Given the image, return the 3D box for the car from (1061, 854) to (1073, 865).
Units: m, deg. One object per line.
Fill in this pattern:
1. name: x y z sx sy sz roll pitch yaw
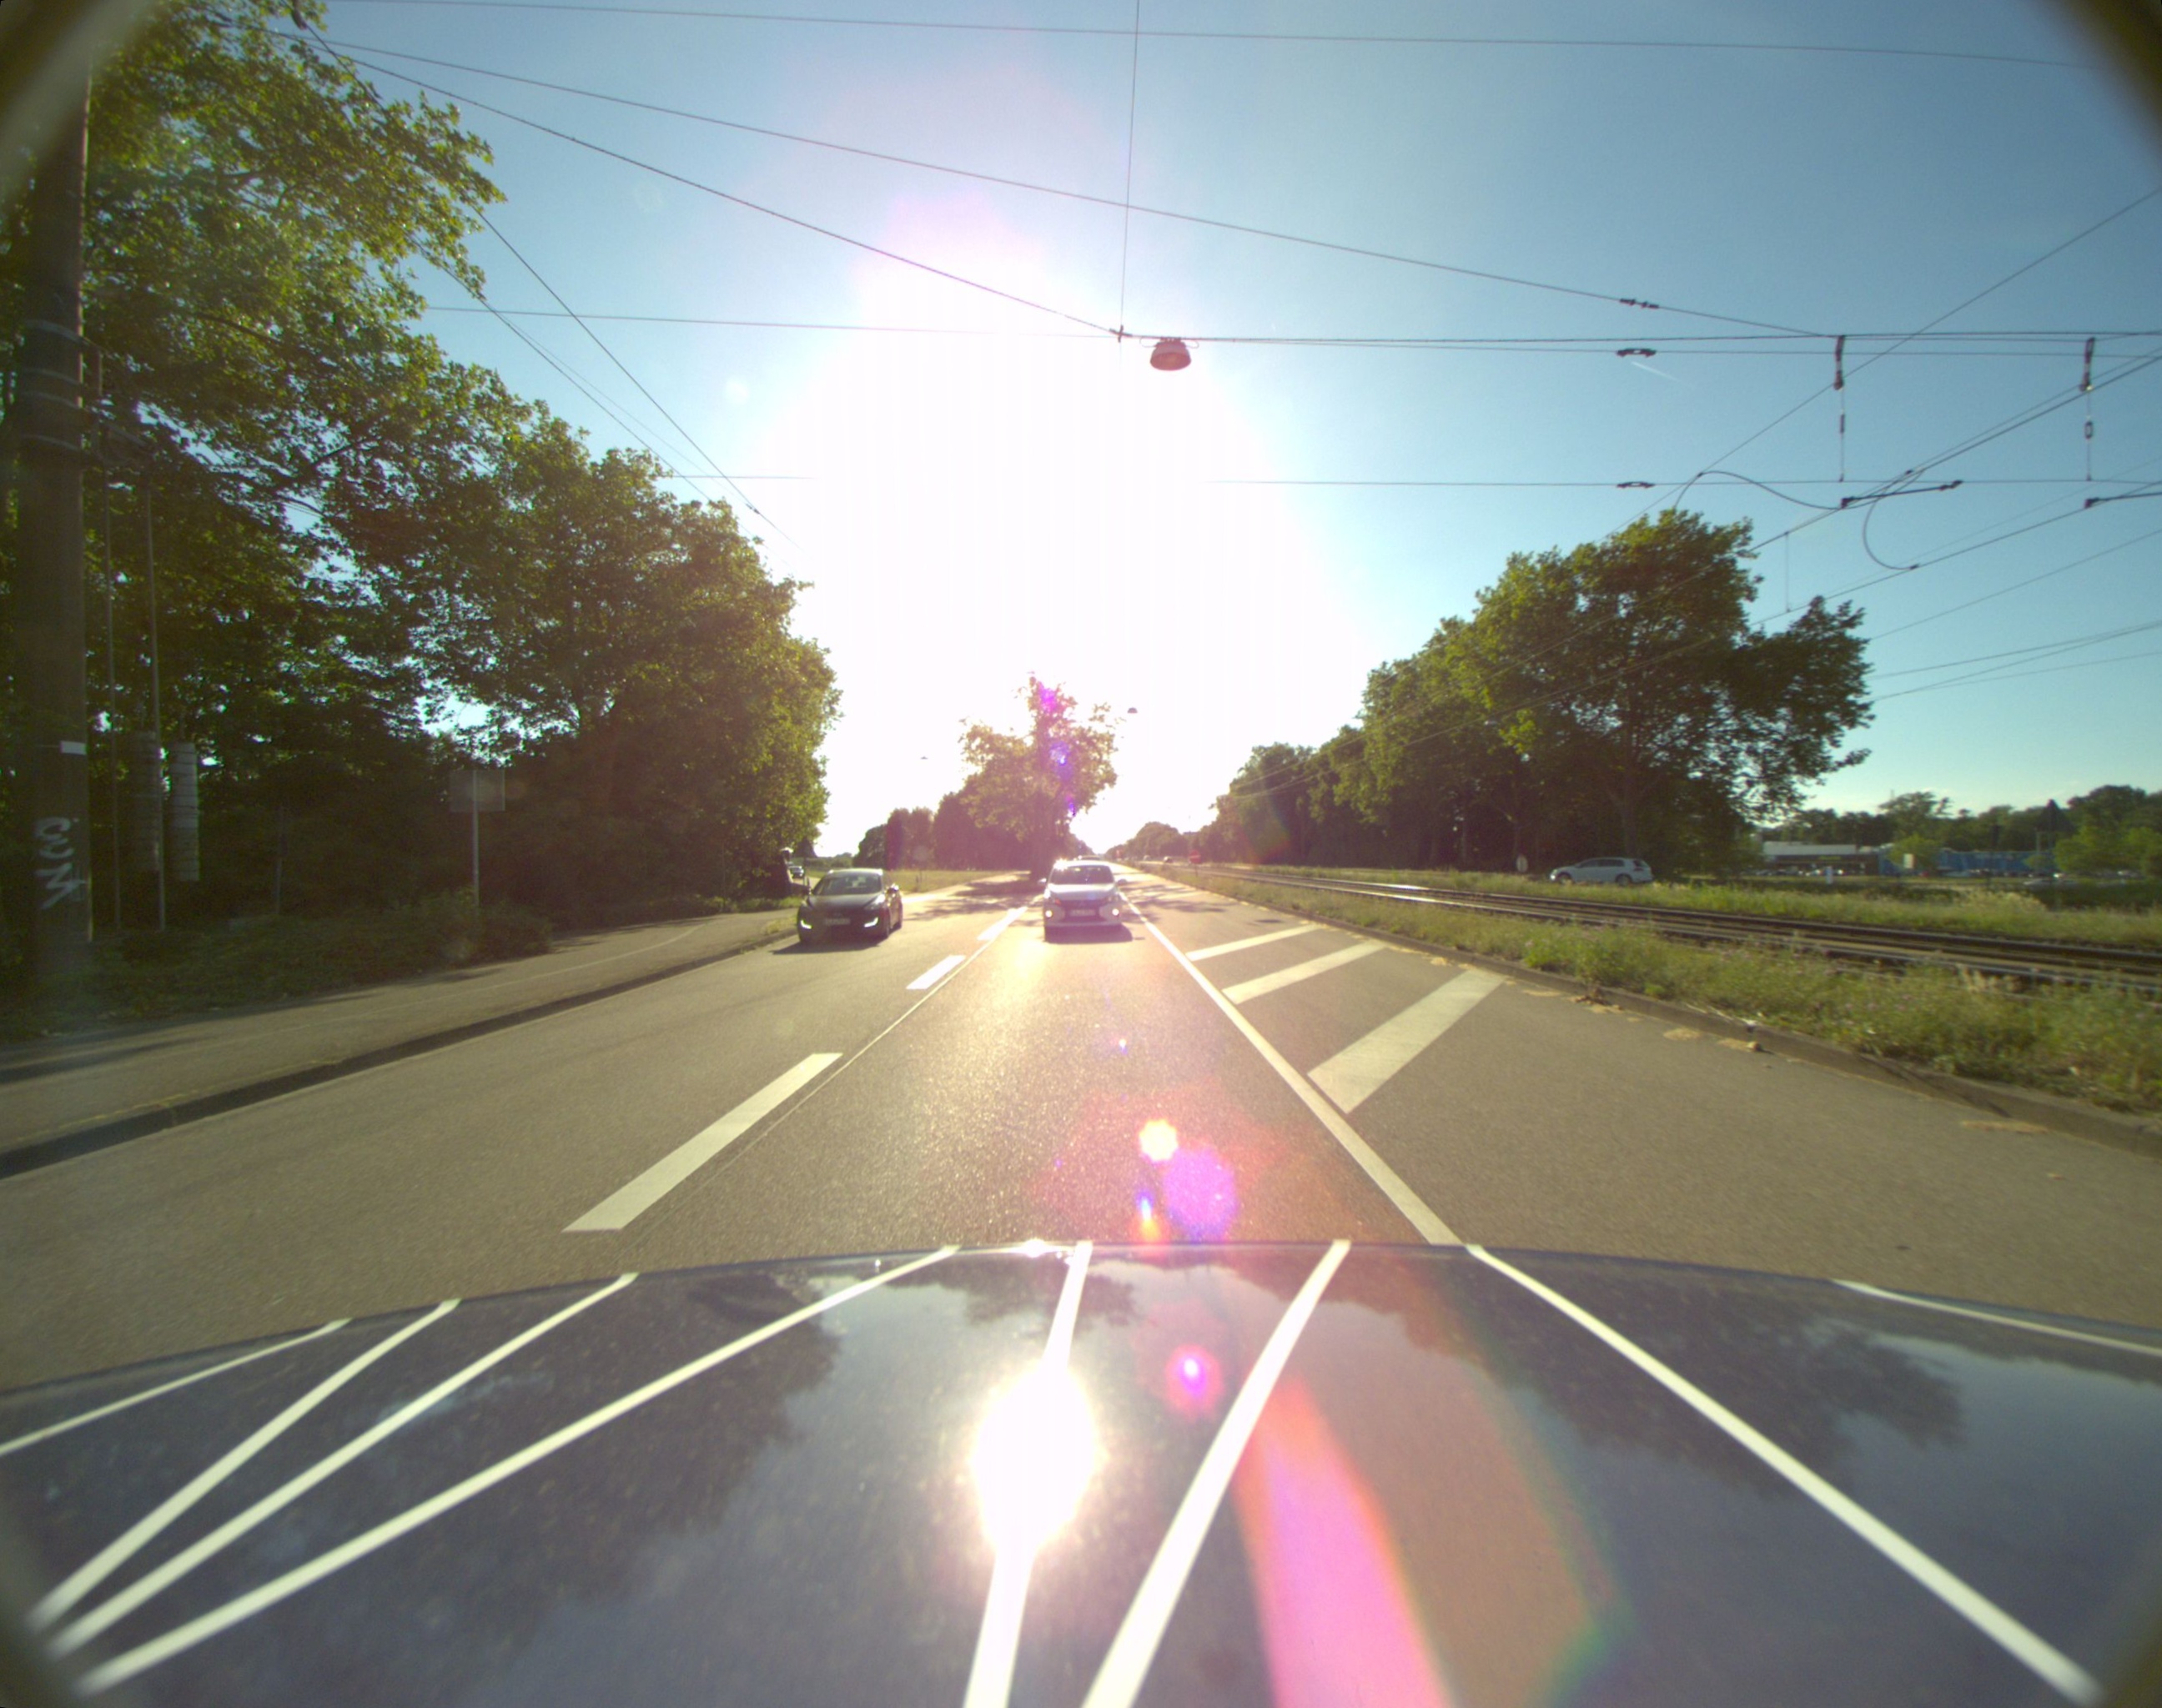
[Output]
1. car: -2.230 0.879 123.338 1.886 1.789 3.644 -2 0 -1

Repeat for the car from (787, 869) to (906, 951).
1. car: -5.067 1.136 17.002 1.798 1.432 4.221 -2 0 -8

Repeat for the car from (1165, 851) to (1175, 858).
1. car: 20.281 0.194 172.721 1.715 1.459 4.347 1 -1 -1

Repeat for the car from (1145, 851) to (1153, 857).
1. car: 20.007 -0.091 223.938 1.968 1.697 4.943 1 1 -2

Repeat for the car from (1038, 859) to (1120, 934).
1. car: 0.000 0.925 18.369 1.709 1.503 3.862 -2 0 1

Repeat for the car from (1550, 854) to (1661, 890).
1. car: 26.081 0.853 37.911 1.661 1.517 4.260 -2 3 -38

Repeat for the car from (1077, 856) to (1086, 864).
1. car: 0.117 1.301 160.209 1.998 1.686 4.000 -1 0 1

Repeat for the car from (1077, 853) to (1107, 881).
1. car: 0.672 0.721 45.292 1.709 1.512 3.844 -2 0 1

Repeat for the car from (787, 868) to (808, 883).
1. car: -31.161 2.364 83.525 1.800 1.432 4.215 -3 0 -25
